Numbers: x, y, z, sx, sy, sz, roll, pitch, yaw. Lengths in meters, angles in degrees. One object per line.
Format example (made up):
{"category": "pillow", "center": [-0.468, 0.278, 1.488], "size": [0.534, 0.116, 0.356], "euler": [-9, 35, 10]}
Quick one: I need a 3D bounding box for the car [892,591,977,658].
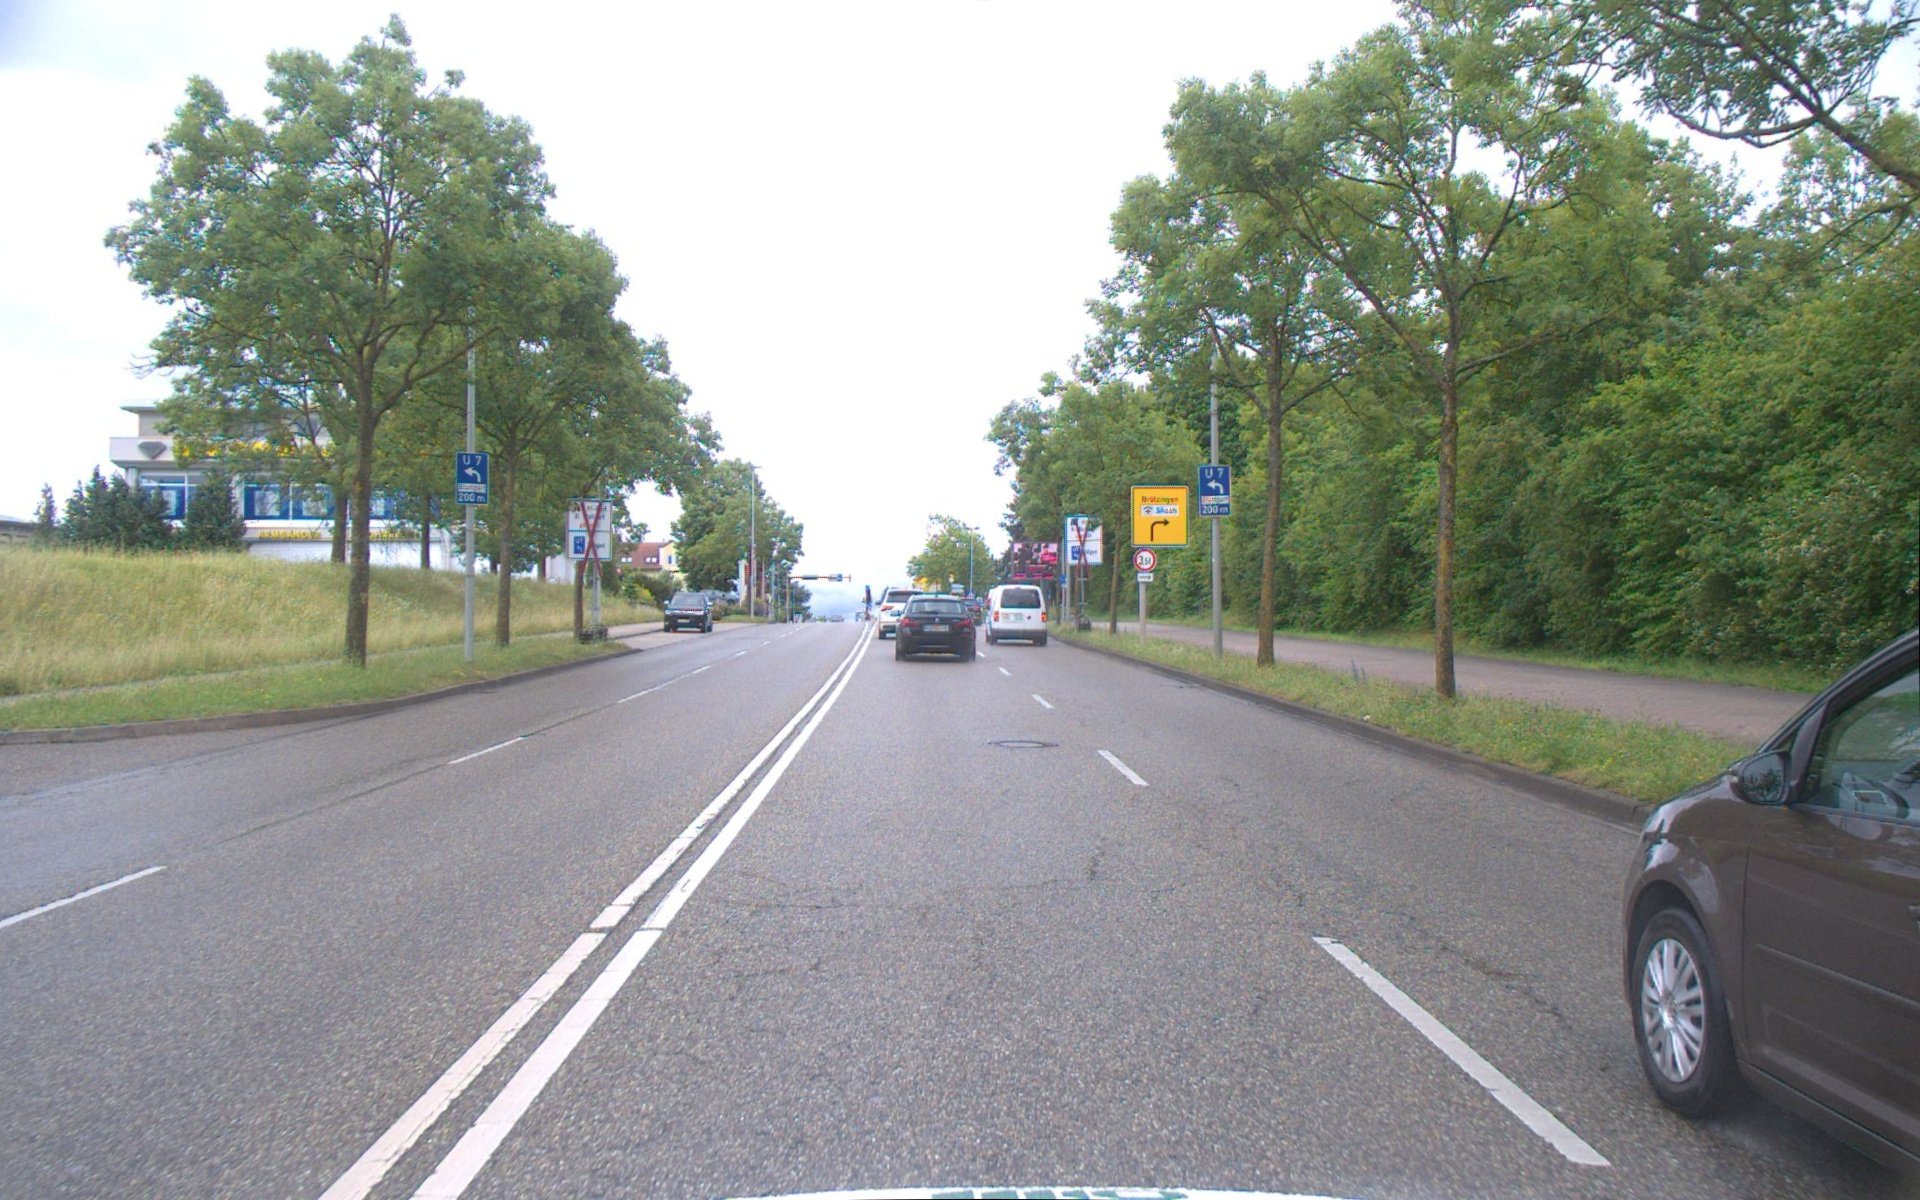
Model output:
{"category": "car", "center": [-0.567, 0.534, 38.142], "size": [1.817, 1.444, 3.956], "euler": [1, 0, 0]}

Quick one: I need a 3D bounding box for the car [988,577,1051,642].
{"category": "car", "center": [1.807, 0.280, 51.192], "size": [1.706, 1.902, 3.945], "euler": [1, 0, -1]}

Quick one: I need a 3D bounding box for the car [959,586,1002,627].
{"category": "car", "center": [0.885, 0.274, 72.871], "size": [1.777, 1.738, 3.945], "euler": [0, 0, -1]}

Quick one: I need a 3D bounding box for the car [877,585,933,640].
{"category": "car", "center": [-1.825, 0.402, 55.672], "size": [1.693, 1.741, 3.382], "euler": [1, 0, 0]}

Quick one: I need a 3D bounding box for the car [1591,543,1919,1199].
{"category": "car", "center": [3.048, 0.692, 3.595], "size": [1.679, 1.624, 4.129], "euler": [1, 0, -2]}

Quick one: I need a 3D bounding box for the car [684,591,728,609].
{"category": "car", "center": [-21.803, 0.006, 141.867], "size": [3.757, 1.508, 1.737], "euler": [0, -1, -10]}

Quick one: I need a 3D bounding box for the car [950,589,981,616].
{"category": "car", "center": [0.280, 0.142, 88.370], "size": [1.568, 1.396, 3.679], "euler": [-1, 0, -1]}

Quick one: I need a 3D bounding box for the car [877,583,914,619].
{"category": "car", "center": [-3.142, 0.051, 81.256], "size": [1.722, 1.738, 3.945], "euler": [0, 0, -1]}

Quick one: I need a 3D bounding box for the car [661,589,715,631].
{"category": "car", "center": [-11.602, 0.396, 70.708], "size": [1.691, 1.697, 4.485], "euler": [1, 0, -2]}
